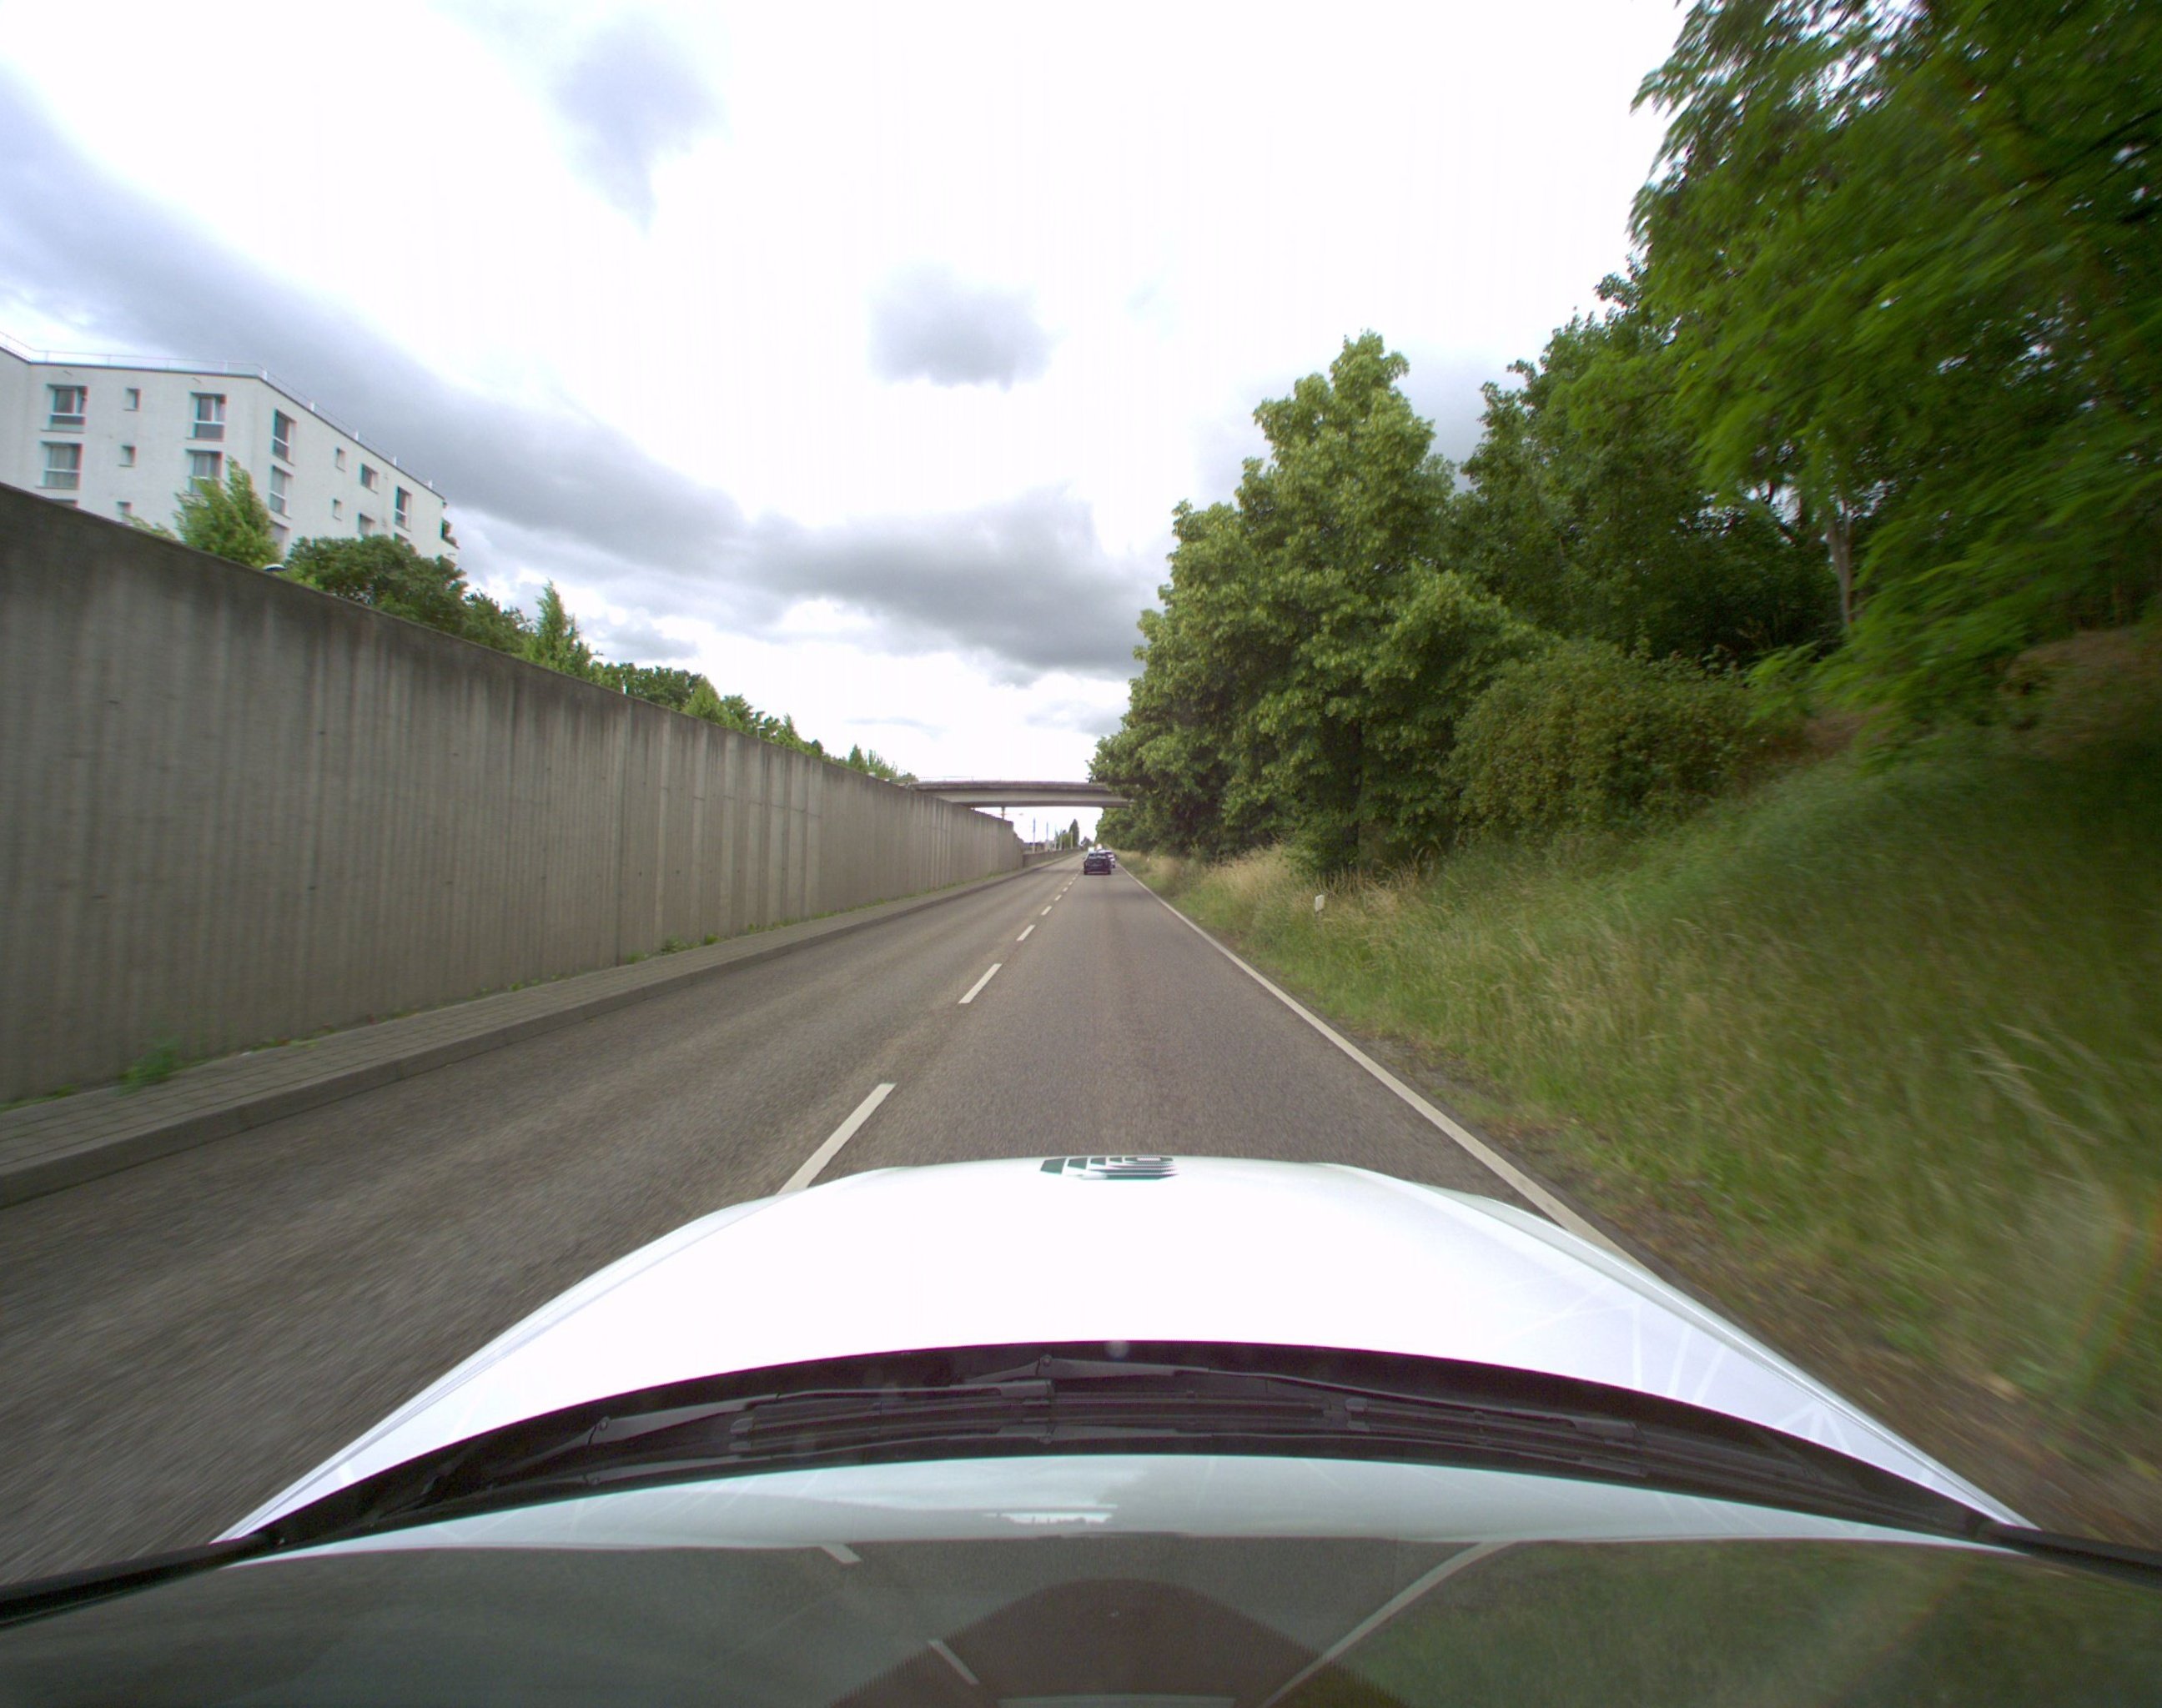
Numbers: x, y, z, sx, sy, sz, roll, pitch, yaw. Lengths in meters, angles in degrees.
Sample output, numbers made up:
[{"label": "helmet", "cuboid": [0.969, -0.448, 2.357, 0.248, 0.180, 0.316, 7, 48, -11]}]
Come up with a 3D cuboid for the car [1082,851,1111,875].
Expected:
[{"label": "car", "cuboid": [1.025, 0.553, 52.922, 1.775, 1.468, 4.001, 0, 0, 1]}]

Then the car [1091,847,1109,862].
[{"label": "car", "cuboid": [2.238, 0.045, 94.333, 1.986, 1.740, 4.001, 0, -1, 1]}]

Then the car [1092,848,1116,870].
[{"label": "car", "cuboid": [1.924, 0.414, 69.683, 1.986, 1.753, 4.001, 0, 0, 1]}]
